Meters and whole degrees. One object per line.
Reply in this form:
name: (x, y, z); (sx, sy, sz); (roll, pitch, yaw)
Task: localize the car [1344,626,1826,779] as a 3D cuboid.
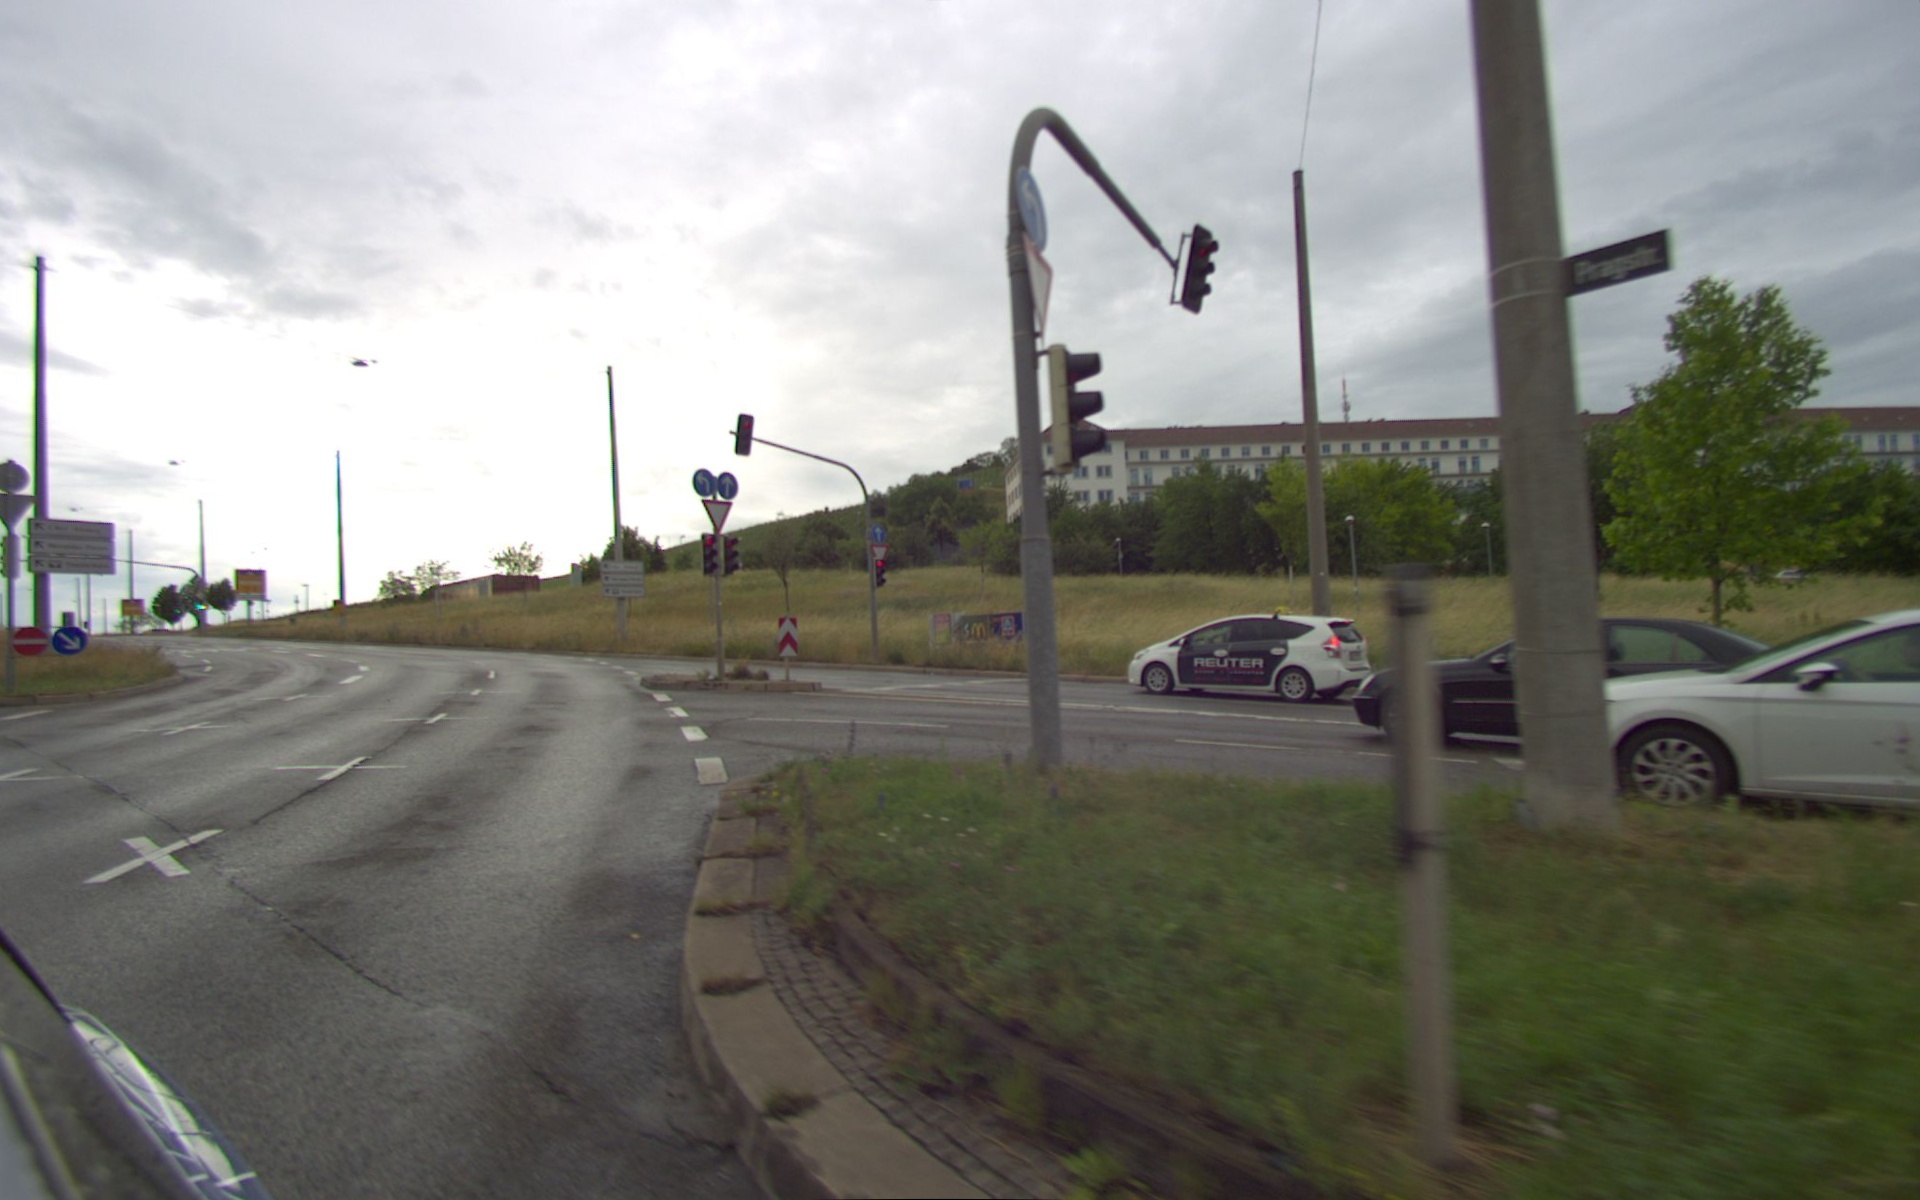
car: (6.365, 0.972, 10.665); (4.010, 1.317, 1.786); (-2, -4, 36)

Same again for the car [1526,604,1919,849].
car: (6.338, 0.741, 6.587); (4.429, 1.433, 1.943); (-2, -2, 36)

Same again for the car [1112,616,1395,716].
car: (5.495, 1.189, 19.343); (4.796, 1.657, 1.973); (-2, -2, 41)
